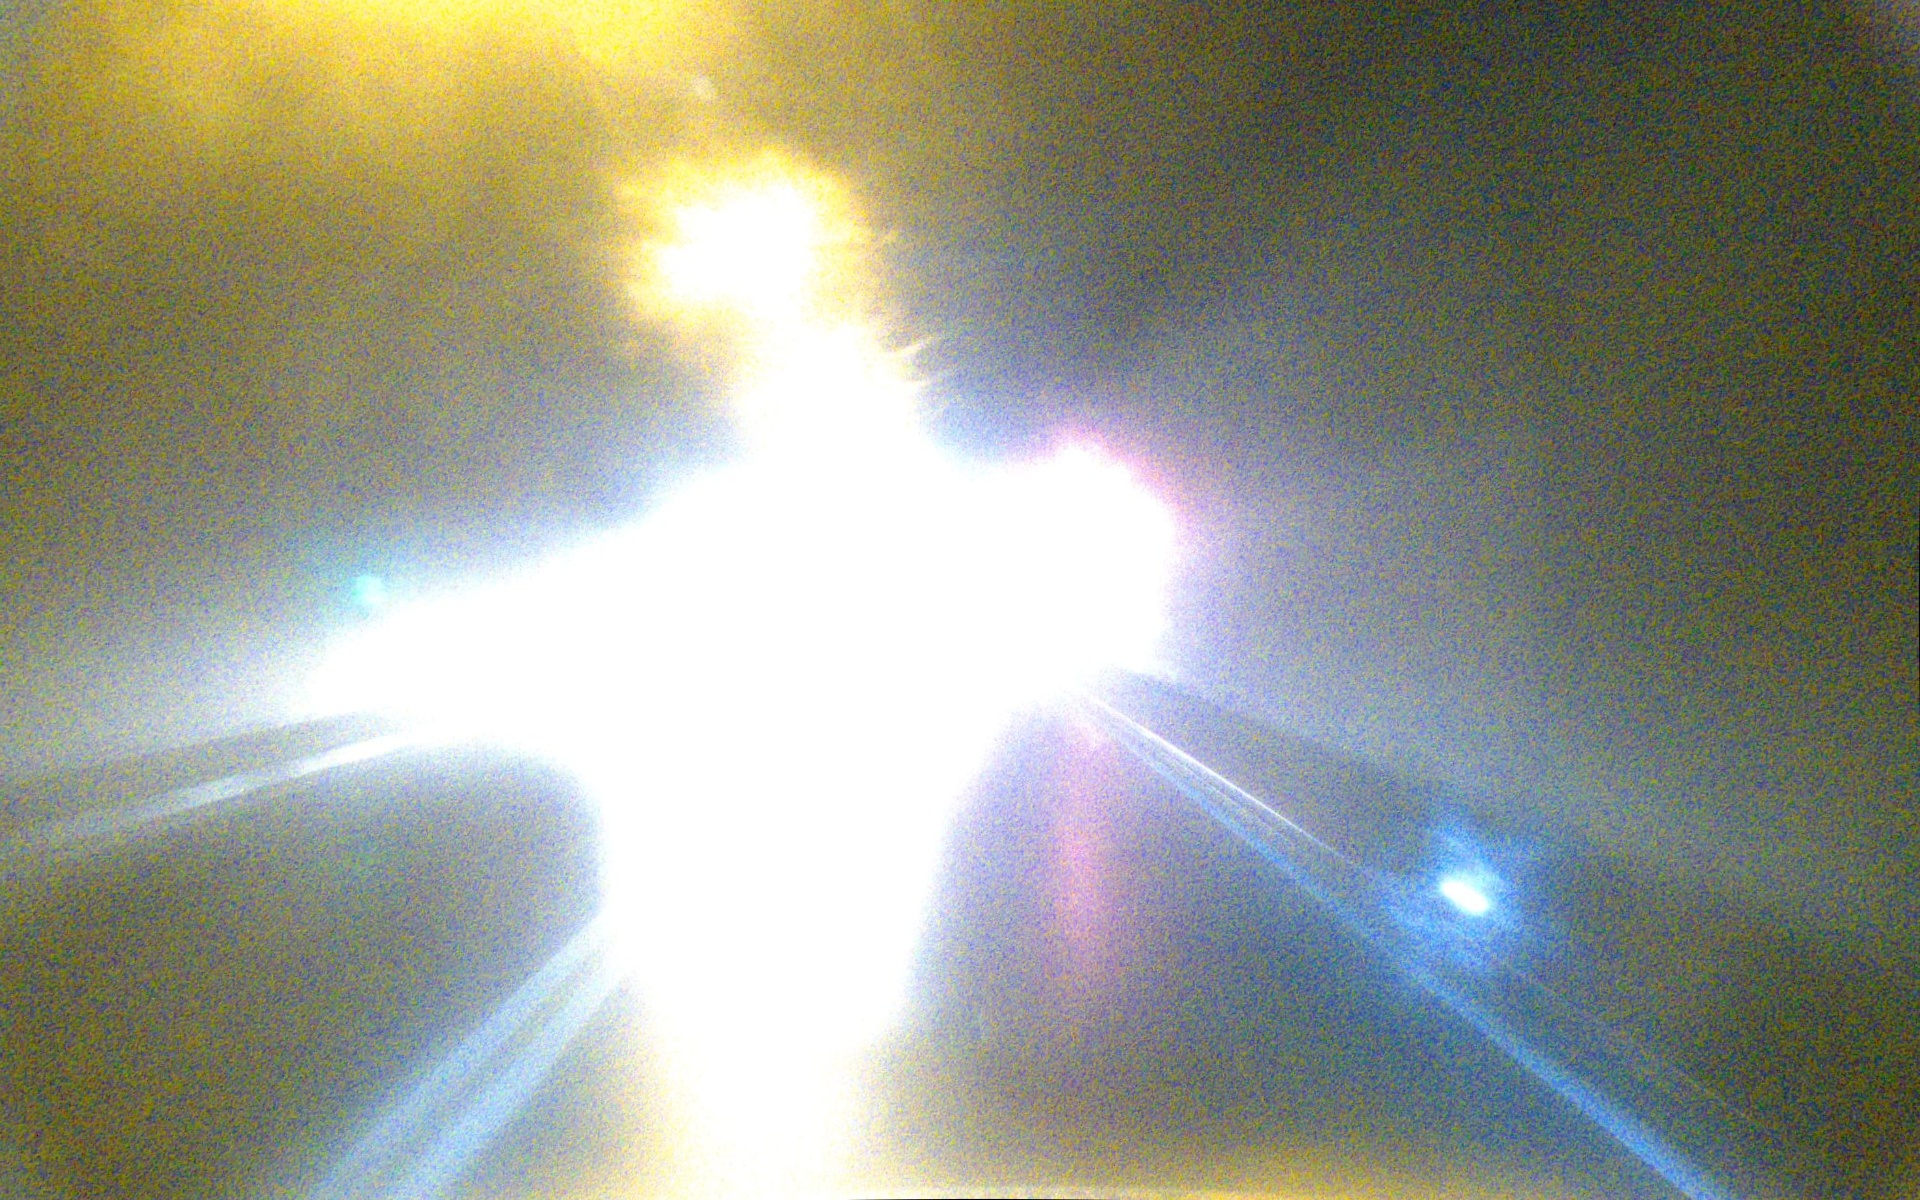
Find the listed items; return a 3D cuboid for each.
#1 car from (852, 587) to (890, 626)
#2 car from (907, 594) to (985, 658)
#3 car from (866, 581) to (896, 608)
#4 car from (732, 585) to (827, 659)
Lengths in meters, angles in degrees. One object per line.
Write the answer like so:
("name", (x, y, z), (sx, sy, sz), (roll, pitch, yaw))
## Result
("car", (-4.295, 0.293, 80.381), (1.635, 1.675, 3.906), (-3, 1, -1))
("car", (-0.418, 0.678, 45.510), (2.047, 1.691, 3.999), (0, 0, -1))
("car", (-4.789, -0.345, 100.549), (1.666, 1.583, 3.872), (0, 0, -1))
("car", (-3.851, 0.430, 35.720), (1.676, 1.488, 3.574), (-1, 0, -1))
